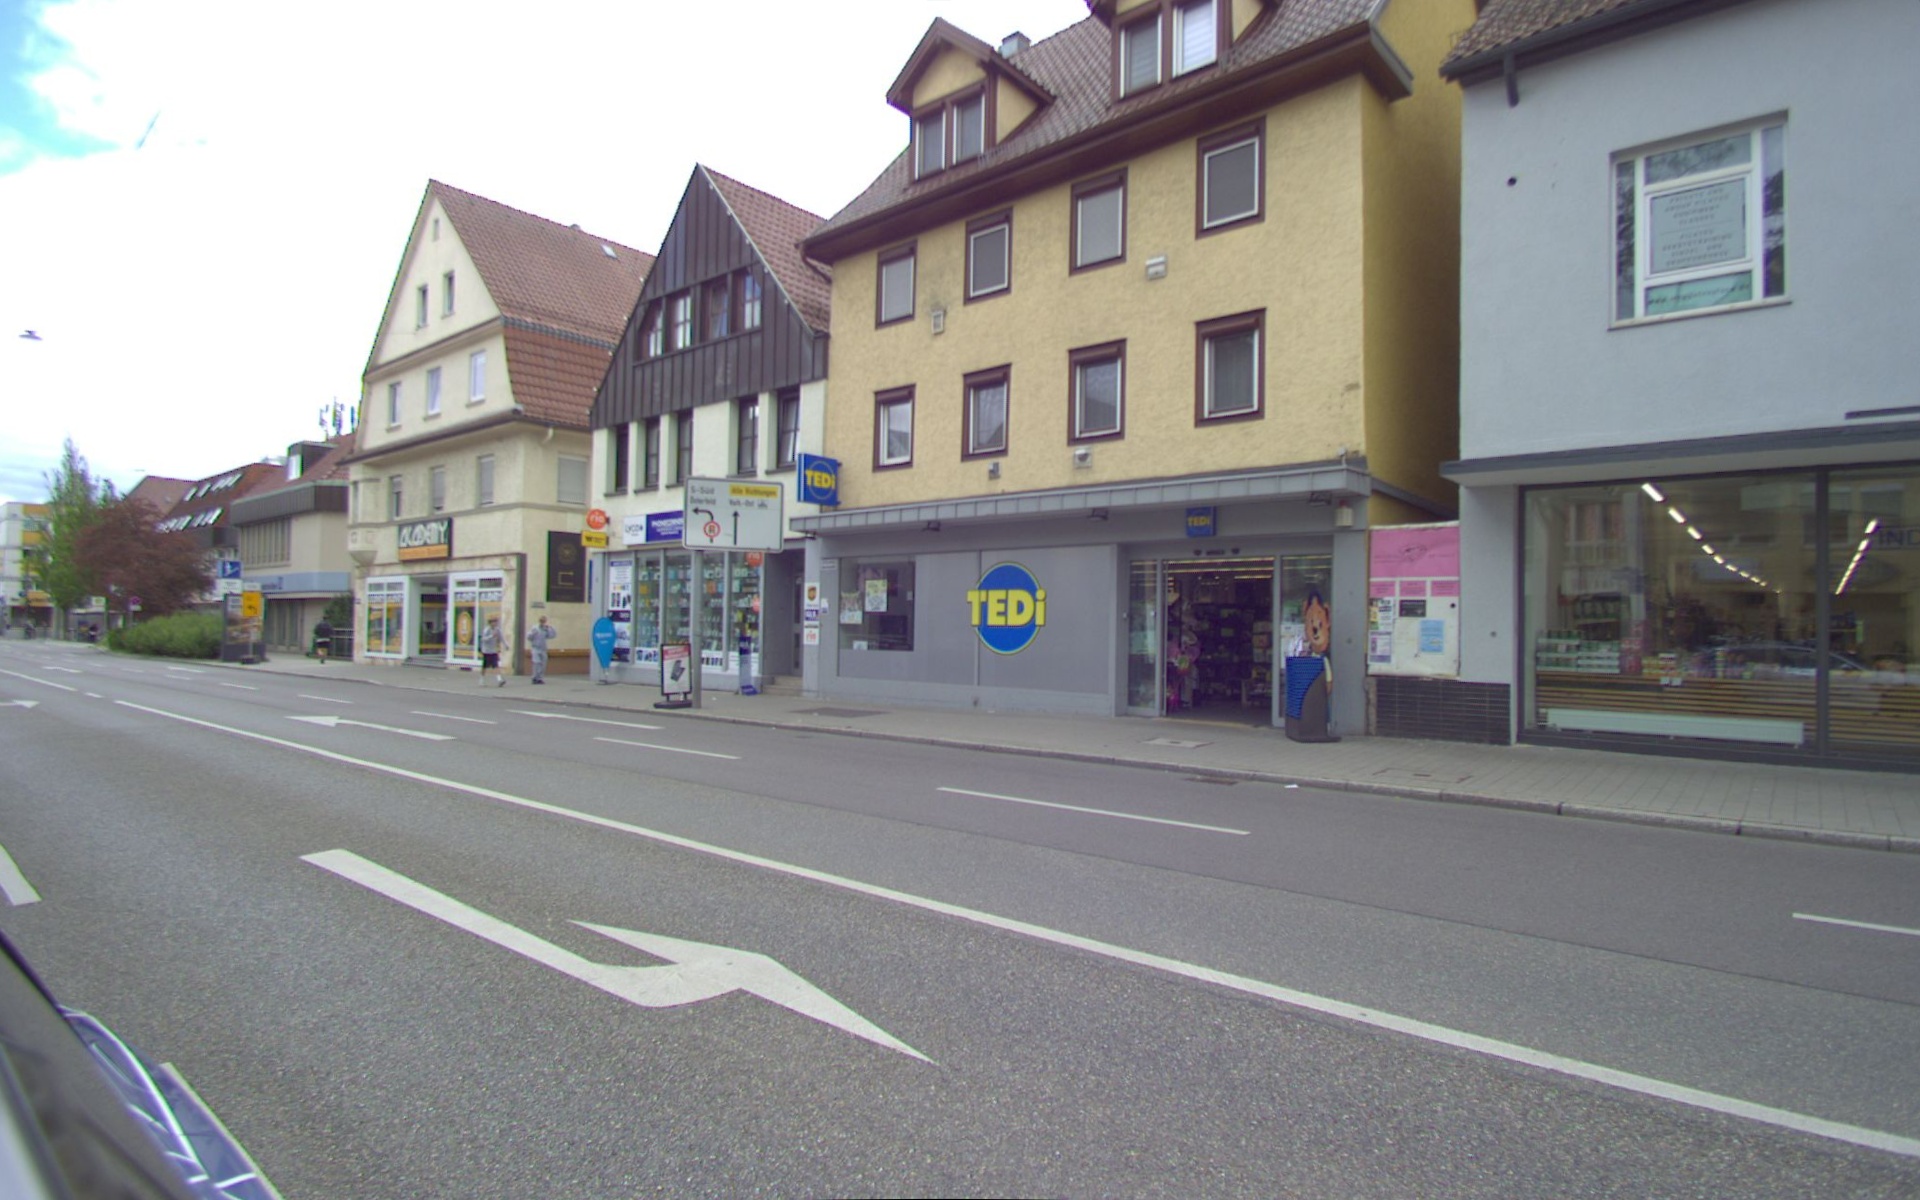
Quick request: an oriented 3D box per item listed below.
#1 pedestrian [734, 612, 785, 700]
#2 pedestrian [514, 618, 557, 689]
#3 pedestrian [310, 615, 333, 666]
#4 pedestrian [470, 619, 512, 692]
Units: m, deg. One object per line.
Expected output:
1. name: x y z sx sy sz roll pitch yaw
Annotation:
1. pedestrian: -4.048 1.113 20.407 0.775 1.726 0.679 -2 -1 41
2. pedestrian: -10.415 1.292 24.839 0.709 1.683 0.680 -2 0 41
3. pedestrian: -23.794 1.502 37.718 0.592 1.903 0.544 -2 -1 37
4. pedestrian: -11.270 1.316 24.315 0.742 1.703 0.680 -2 -1 41
